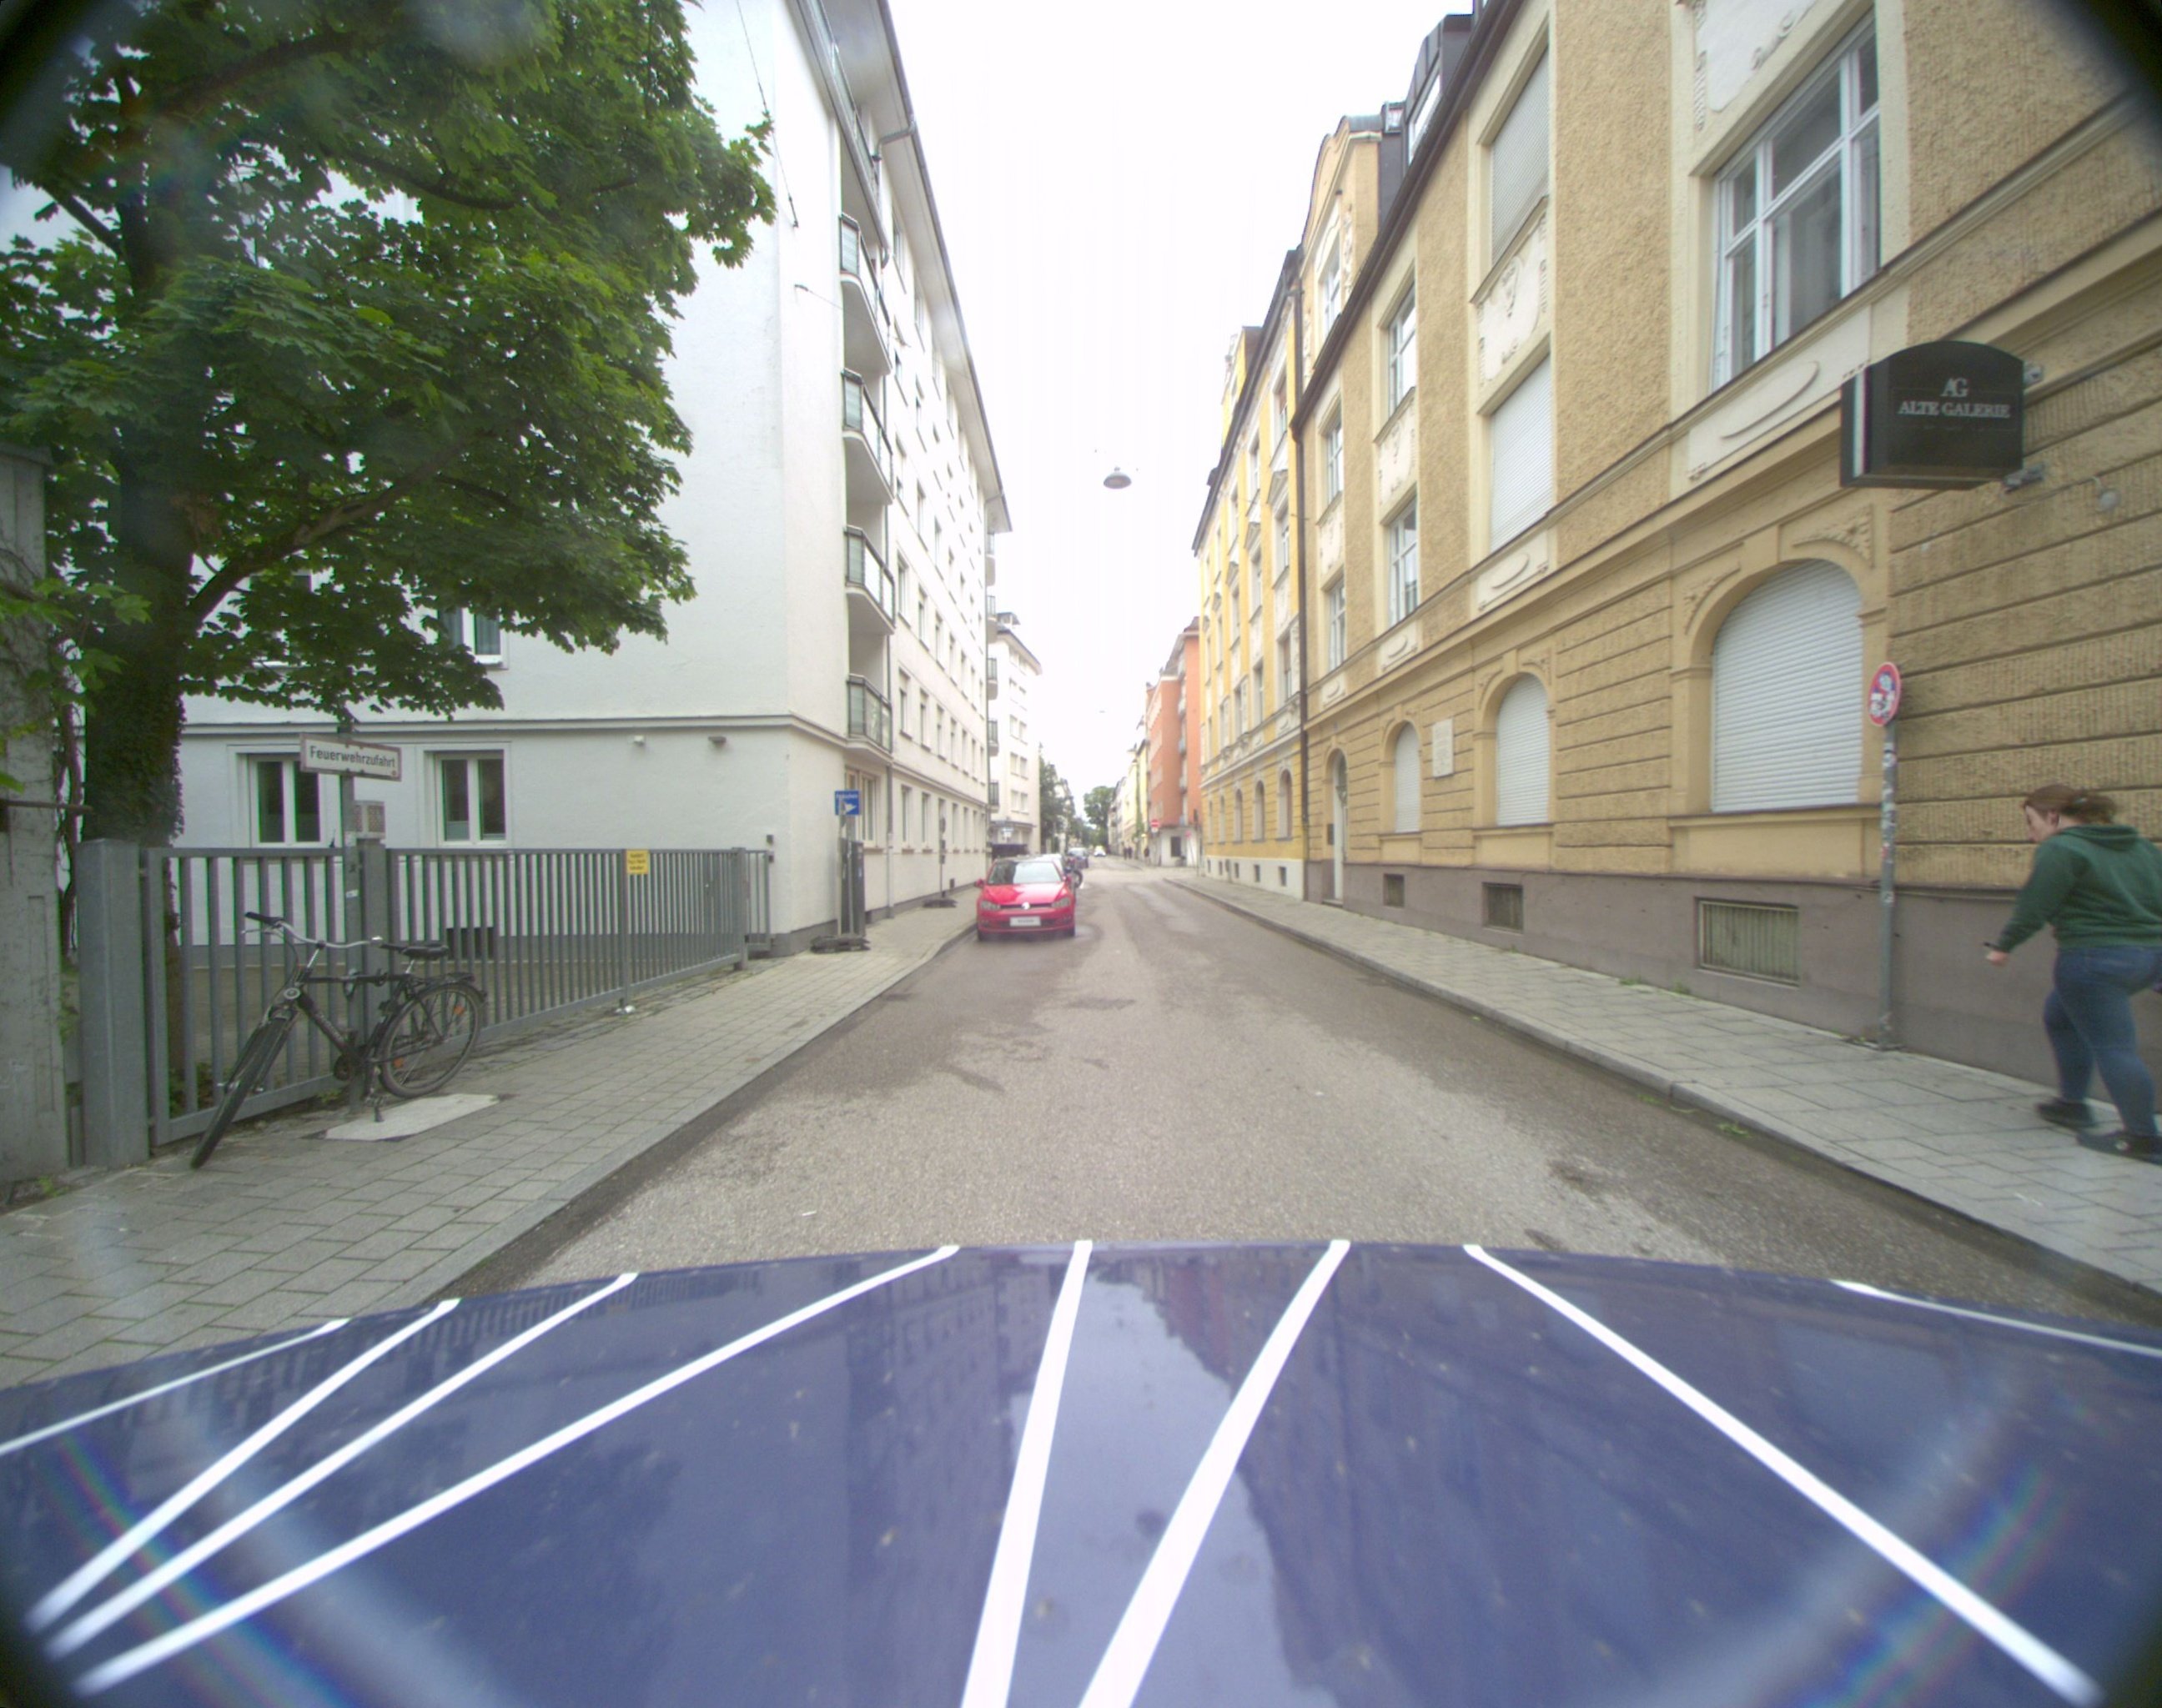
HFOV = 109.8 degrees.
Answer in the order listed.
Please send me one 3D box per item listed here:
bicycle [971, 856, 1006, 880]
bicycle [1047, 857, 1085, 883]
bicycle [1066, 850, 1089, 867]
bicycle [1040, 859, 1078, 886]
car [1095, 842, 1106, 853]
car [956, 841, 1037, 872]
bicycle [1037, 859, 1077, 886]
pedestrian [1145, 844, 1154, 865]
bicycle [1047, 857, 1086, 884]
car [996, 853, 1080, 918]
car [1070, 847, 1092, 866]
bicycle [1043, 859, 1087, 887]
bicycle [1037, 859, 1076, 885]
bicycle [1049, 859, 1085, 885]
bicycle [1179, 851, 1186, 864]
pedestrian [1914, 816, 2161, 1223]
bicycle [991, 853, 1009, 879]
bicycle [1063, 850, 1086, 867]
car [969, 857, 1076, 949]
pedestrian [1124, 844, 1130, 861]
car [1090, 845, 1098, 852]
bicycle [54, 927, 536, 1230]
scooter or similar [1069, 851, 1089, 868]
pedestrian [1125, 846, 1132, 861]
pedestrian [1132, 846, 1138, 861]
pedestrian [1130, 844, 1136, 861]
[{"bbox_3d":[-4.205,0.627,34.410,1.502,1.038,0.398,1,2,-18],"label":"bicycle"},{"bbox_3d":[-0.664,0.719,33.909,1.699,1.154,0.378,-1,1,0],"label":"bicycle"},{"bbox_3d":[-0.264,0.354,55.035,1.608,1.207,0.529,0,1,3],"label":"bicycle"},{"bbox_3d":[-0.888,0.749,30.592,1.438,1.038,0.330,2,2,9],"label":"bicycle"},{"bbox_3d":[3.372,-1.118,132.710,1.929,1.795,4.443,-1,1,0],"label":"car"},{"bbox_3d":[-5.293,0.154,47.704,4.676,1.880,1.935,0,0,9],"label":"car"},{"bbox_3d":[-0.968,0.743,30.955,1.590,1.038,0.323,2,2,9],"label":"bicycle"},{"bbox_3d":[5.500,0.008,61.070,0.613,1.684,0.565,0,1,0],"label":"pedestrian"},{"bbox_3d":[-0.630,0.725,33.509,1.699,1.154,0.378,-1,1,0],"label":"bicycle"},{"bbox_3d":[-1.034,0.762,20.366,1.799,1.430,4.383,-2,1,2],"label":"car"},{"bbox_3d":[0.026,0.180,61.427,1.653,1.391,4.000,0,1,1],"label":"car"},{"bbox_3d":[-0.647,0.757,30.123,1.707,1.038,0.360,1,2,1],"label":"bicycle"},{"bbox_3d":[-1.017,0.732,31.507,1.520,1.038,0.360,2,2,9],"label":"bicycle"},{"bbox_3d":[-0.603,0.734,31.839,1.441,1.038,0.360,2,2,9],"label":"bicycle"},{"bbox_3d":[7.434,0.272,55.672,0.391,0.932,1.540,0,1,1],"label":"bicycle"},{"bbox_3d":[4.773,0.673,3.536,0.714,1.656,0.929,-4,1,0],"label":"pedestrian"},{"bbox_3d":[-3.857,0.569,36.253,0.399,1.198,1.502,1,1,-24],"label":"bicycle"},{"bbox_3d":[-0.488,0.345,55.610,1.608,1.207,0.529,0,1,3],"label":"bicycle"},{"bbox_3d":[-1.173,0.846,15.086,1.766,1.438,4.296,-2,1,-5],"label":"car"},{"bbox_3d":[5.429,-0.166,89.571,0.635,2.002,0.788,1,1,1],"label":"pedestrian"},{"bbox_3d":[3.575,-1.481,203.709,1.998,2.002,4.646,-1,1,0],"label":"car"},{"bbox_3d":[-4.053,1.057,4.201,0.709,1.191,1.834,-1,-2,2],"label":"bicycle"},{"bbox_3d":[-0.129,0.378,53.607,1.340,1.207,0.344,0,1,3],"label":"scooter or similar"},{"bbox_3d":[5.594,-0.042,89.386,0.726,1.783,0.830,0,1,1],"label":"pedestrian"},{"bbox_3d":[6.400,-0.036,89.594,0.699,1.783,0.763,0,1,2],"label":"pedestrian"},{"bbox_3d":[6.111,-0.201,89.640,0.635,2.002,0.788,1,1,1],"label":"pedestrian"}]
